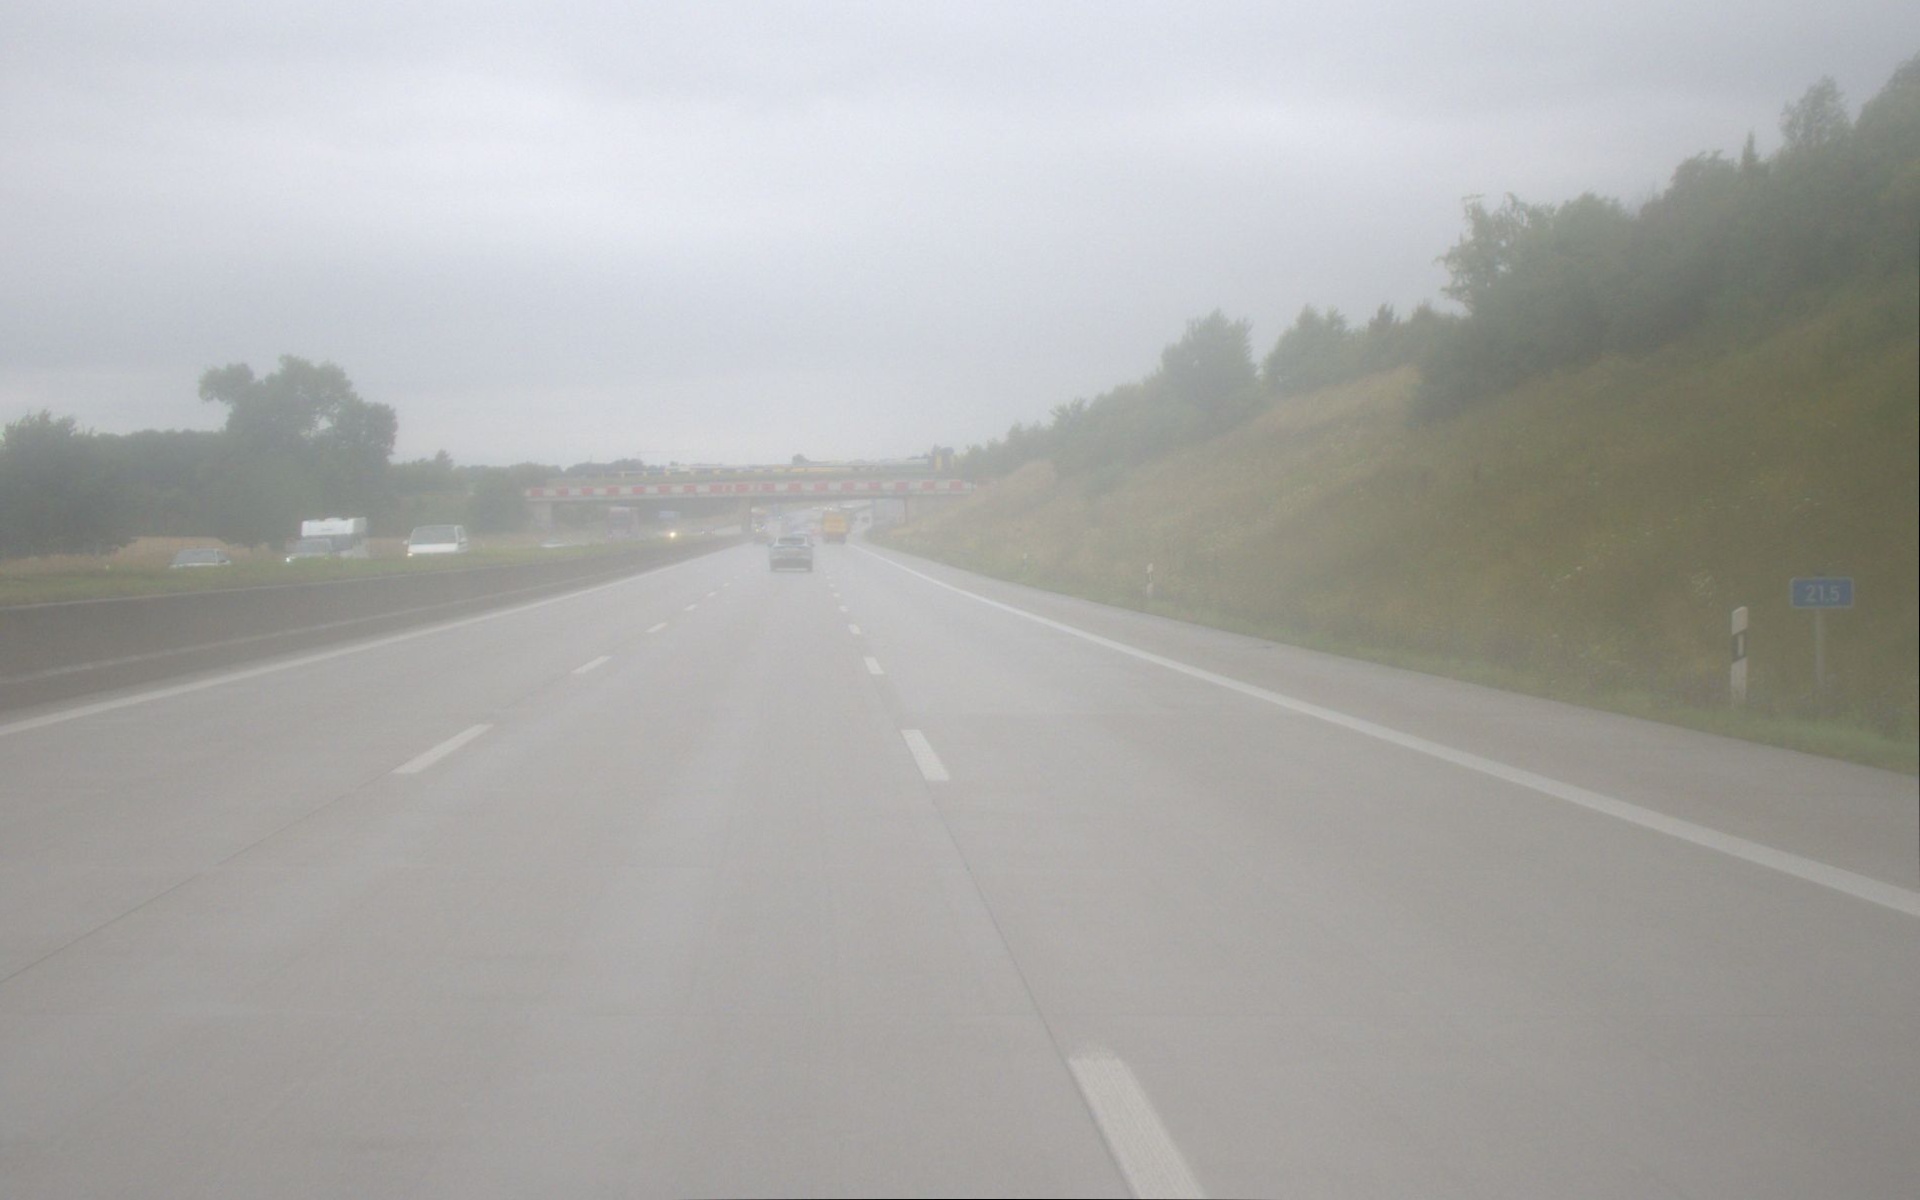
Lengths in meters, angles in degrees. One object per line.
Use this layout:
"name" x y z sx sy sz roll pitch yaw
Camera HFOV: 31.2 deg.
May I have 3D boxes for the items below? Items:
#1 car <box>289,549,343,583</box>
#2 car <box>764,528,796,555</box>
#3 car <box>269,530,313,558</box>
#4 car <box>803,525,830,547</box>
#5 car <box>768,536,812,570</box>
"car" -26.602 -1.415 142.049 1.672 1.393 4.066 0 1 -3
"car" -9.889 -3.212 188.517 1.729 1.326 4.431 1 2 -3
"car" -34.566 -2.898 177.638 1.672 1.393 4.066 0 1 -3
"car" -9.636 -4.315 230.611 1.729 1.326 4.431 1 2 -3
"car" -7.504 -2.082 151.433 1.847 1.326 4.431 1 2 -3
